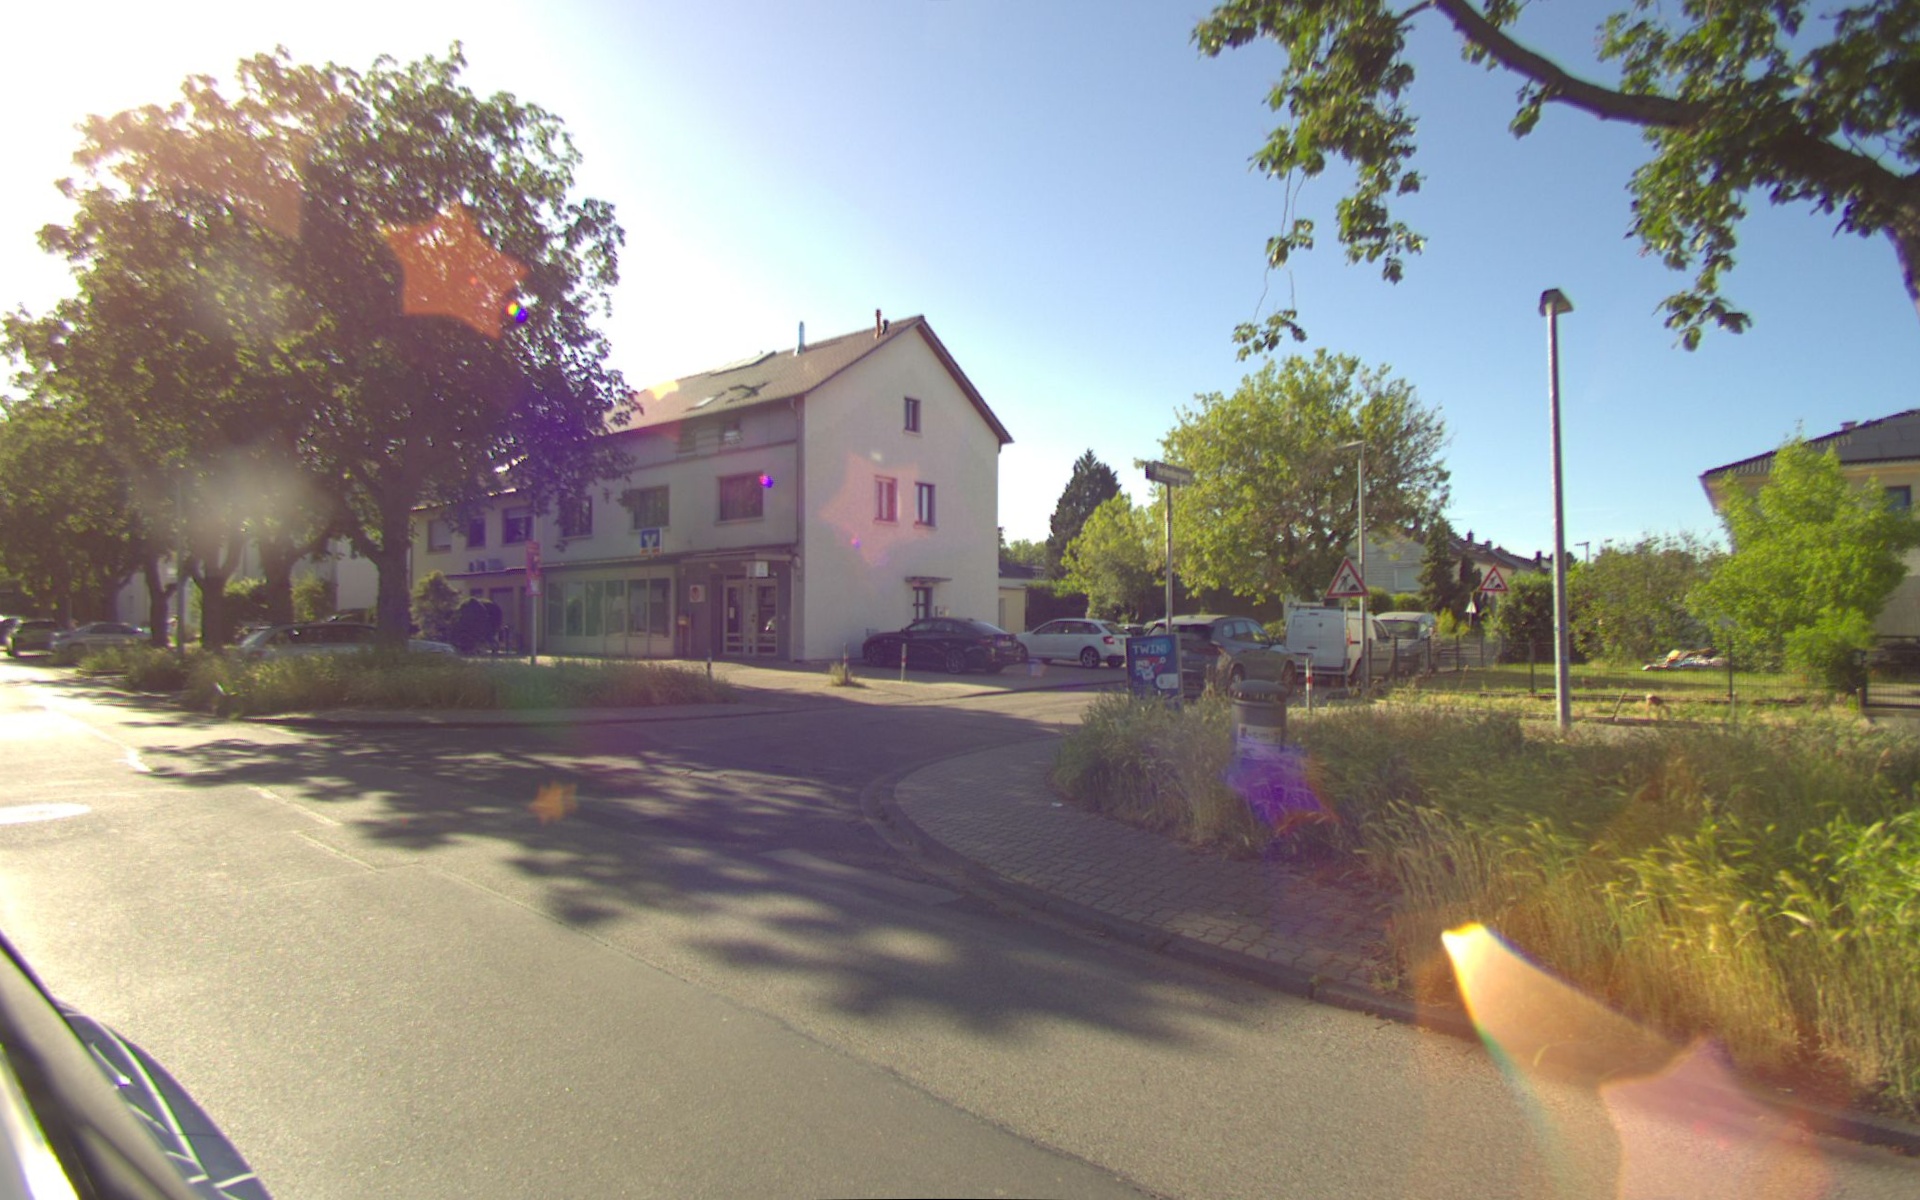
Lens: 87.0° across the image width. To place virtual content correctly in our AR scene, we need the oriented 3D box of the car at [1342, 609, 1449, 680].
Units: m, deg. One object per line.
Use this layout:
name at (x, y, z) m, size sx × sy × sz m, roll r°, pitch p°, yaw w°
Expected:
car at (12.599, 1.211, 29.159) m, size 1.996 × 1.844 × 3.951 m, roll -1°, pitch 0°, yaw 36°

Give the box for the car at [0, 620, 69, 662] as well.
car at (-39.554, 1.691, 43.209) m, size 3.696 × 1.550 × 1.971 m, roll 0°, pitch 2°, yaw 45°

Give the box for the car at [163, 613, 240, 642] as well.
car at (-53.280, 1.898, 71.122) m, size 1.999 × 1.696 × 3.946 m, roll -1°, pitch 2°, yaw 41°

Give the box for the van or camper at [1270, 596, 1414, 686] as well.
van or camper at (9.636, 0.963, 25.307) m, size 1.998 × 2.029 × 4.625 m, roll -1°, pitch -1°, yaw 40°

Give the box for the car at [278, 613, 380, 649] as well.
car at (-29.379, 1.440, 47.194) m, size 3.721 × 1.577 × 1.692 m, roll 2°, pitch -2°, yaw -44°

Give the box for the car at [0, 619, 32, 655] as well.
car at (-47.934, 1.818, 50.809) m, size 4.057 × 1.746 × 1.790 m, roll -1°, pitch -2°, yaw 45°

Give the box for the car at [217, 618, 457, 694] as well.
car at (-14.238, 1.209, 23.321) m, size 1.999 × 1.426 × 4.336 m, roll 0°, pitch 1°, yaw 41°

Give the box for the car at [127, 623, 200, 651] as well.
car at (-59.660, 2.747, 75.869) m, size 1.999 × 1.696 × 3.946 m, roll -1°, pitch 2°, yaw 41°

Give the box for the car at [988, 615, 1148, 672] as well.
car at (3.314, 1.294, 31.473) m, size 4.662 × 1.539 × 1.854 m, roll 1°, pitch 0°, yaw 38°

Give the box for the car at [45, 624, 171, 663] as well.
car at (-34.746, 1.737, 41.322) m, size 1.622 × 1.333 × 3.651 m, roll -1°, pitch 1°, yaw 36°

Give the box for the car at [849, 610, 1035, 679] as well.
car at (-0.550, 1.134, 27.444) m, size 4.902 × 1.575 × 1.975 m, roll 1°, pitch 0°, yaw 38°

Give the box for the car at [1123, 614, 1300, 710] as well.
car at (4.941, 1.127, 19.541) m, size 1.996 × 1.650 × 3.951 m, roll -1°, pitch -2°, yaw 36°
